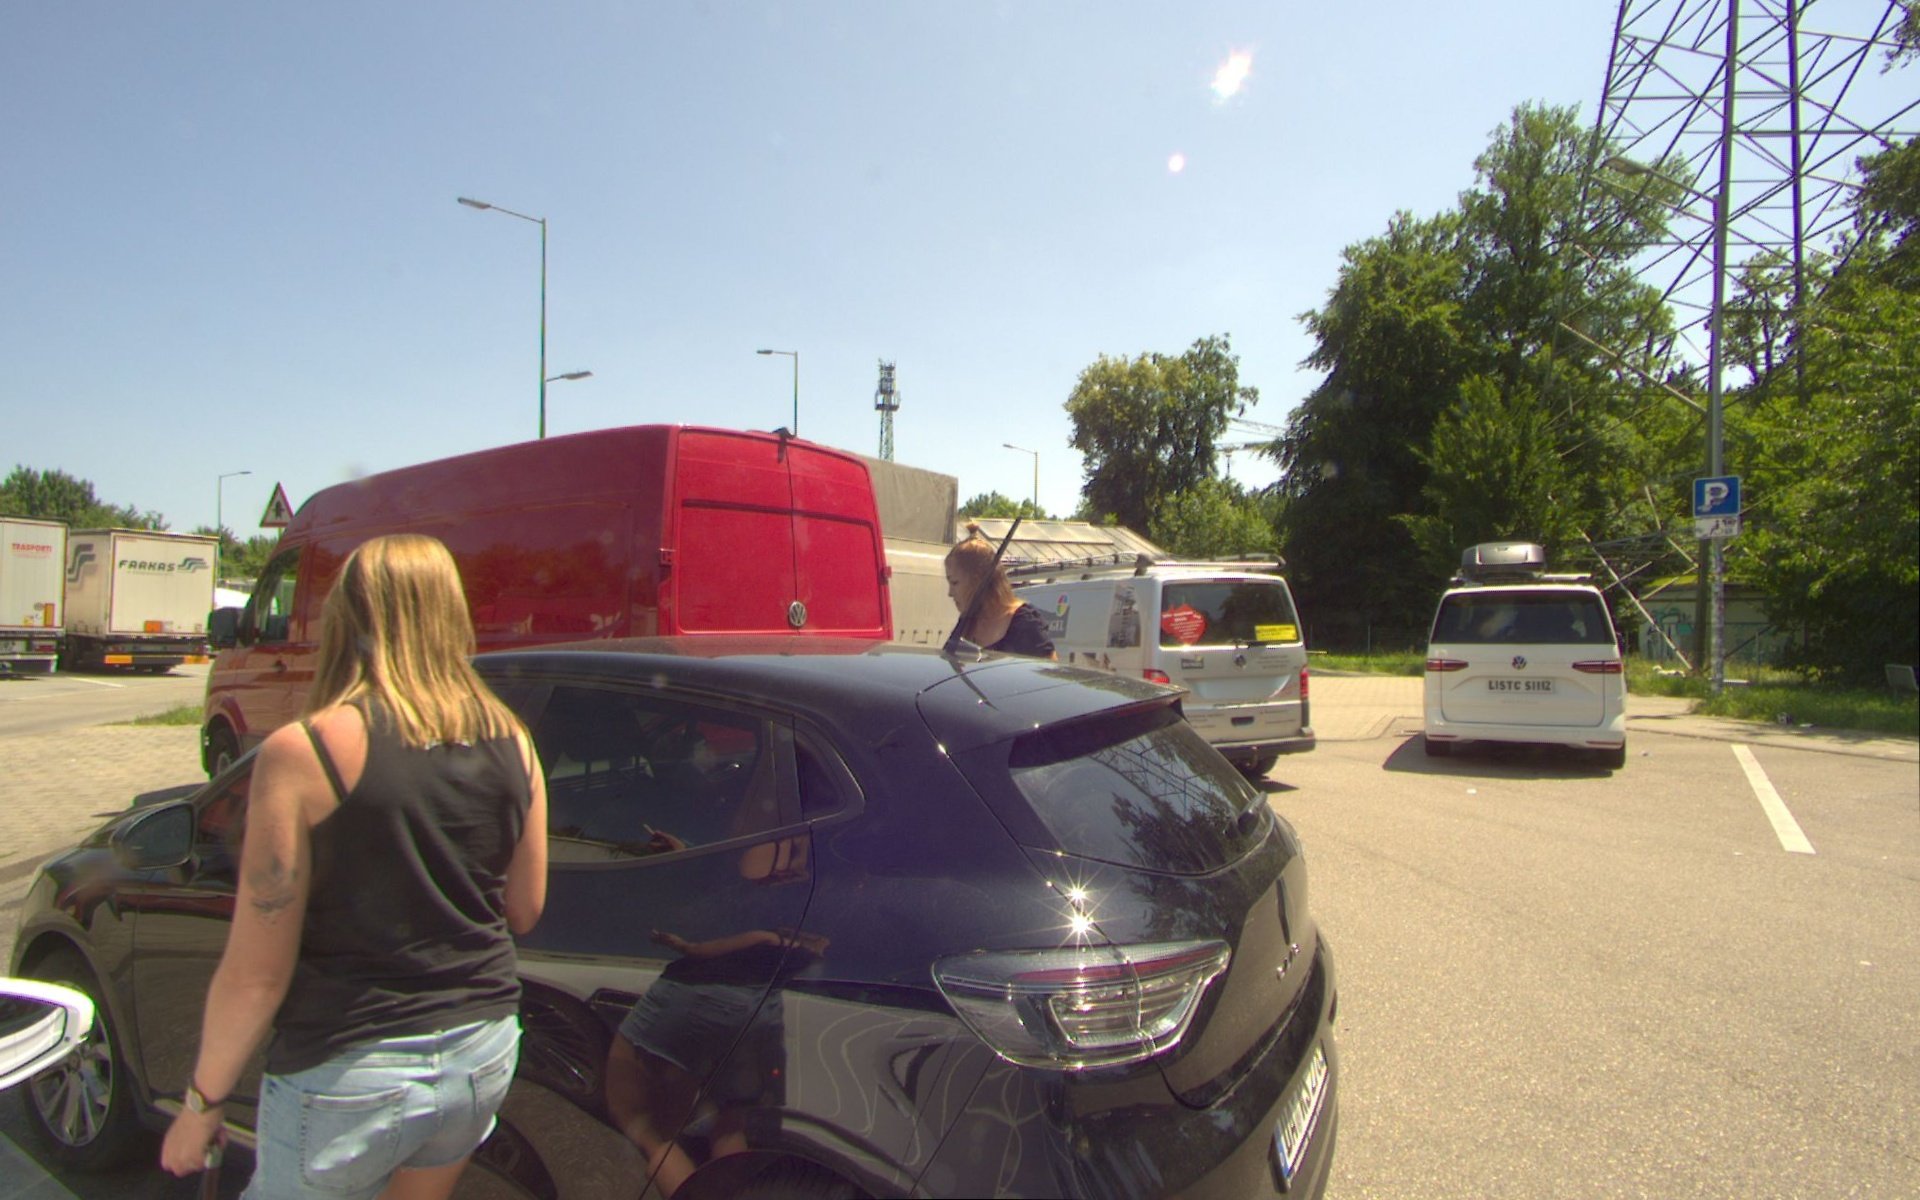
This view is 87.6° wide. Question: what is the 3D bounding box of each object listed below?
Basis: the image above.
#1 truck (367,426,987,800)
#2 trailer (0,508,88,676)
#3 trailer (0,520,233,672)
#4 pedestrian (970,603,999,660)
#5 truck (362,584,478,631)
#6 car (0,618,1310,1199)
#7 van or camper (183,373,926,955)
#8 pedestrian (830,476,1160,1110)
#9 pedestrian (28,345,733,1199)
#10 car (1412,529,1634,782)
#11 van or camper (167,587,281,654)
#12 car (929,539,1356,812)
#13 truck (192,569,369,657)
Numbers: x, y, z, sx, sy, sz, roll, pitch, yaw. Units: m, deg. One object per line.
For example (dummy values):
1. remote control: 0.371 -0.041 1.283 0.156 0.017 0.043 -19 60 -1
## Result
1. truck: -3.272 0.128 10.545 6.874 2.828 2.460 0 -1 35
2. trailer: -28.368 -0.335 27.782 12.255 4.090 2.862 2 -1 33
3. trailer: -27.307 -0.206 31.447 12.255 4.090 2.862 2 -1 33
4. pedestrian: 0.720 0.903 28.800 0.751 1.629 0.756 1 0 6
5. truck: -34.740 0.458 64.261 9.637 2.857 2.121 0 -1 33
6. car: -1.070 0.831 2.832 3.706 1.503 1.615 0 -1 27
7. van or camper: -3.376 0.320 7.339 6.394 2.688 1.990 0 -1 36
8. pedestrian: 0.106 0.591 3.596 0.765 1.896 0.910 1 -1 -37
9. pedestrian: -0.812 0.539 1.494 0.638 1.606 0.652 1 0 25
10. car: 6.529 0.564 11.546 1.892 2.354 4.074 -1 -1 32
11. van or camper: -30.426 0.813 41.369 5.296 2.595 2.100 0 -1 34
12. car: 1.543 0.642 10.874 1.967 2.178 5.297 -2 0 -22
13. truck: -31.708 0.499 46.459 11.255 3.615 2.484 2 -1 33
